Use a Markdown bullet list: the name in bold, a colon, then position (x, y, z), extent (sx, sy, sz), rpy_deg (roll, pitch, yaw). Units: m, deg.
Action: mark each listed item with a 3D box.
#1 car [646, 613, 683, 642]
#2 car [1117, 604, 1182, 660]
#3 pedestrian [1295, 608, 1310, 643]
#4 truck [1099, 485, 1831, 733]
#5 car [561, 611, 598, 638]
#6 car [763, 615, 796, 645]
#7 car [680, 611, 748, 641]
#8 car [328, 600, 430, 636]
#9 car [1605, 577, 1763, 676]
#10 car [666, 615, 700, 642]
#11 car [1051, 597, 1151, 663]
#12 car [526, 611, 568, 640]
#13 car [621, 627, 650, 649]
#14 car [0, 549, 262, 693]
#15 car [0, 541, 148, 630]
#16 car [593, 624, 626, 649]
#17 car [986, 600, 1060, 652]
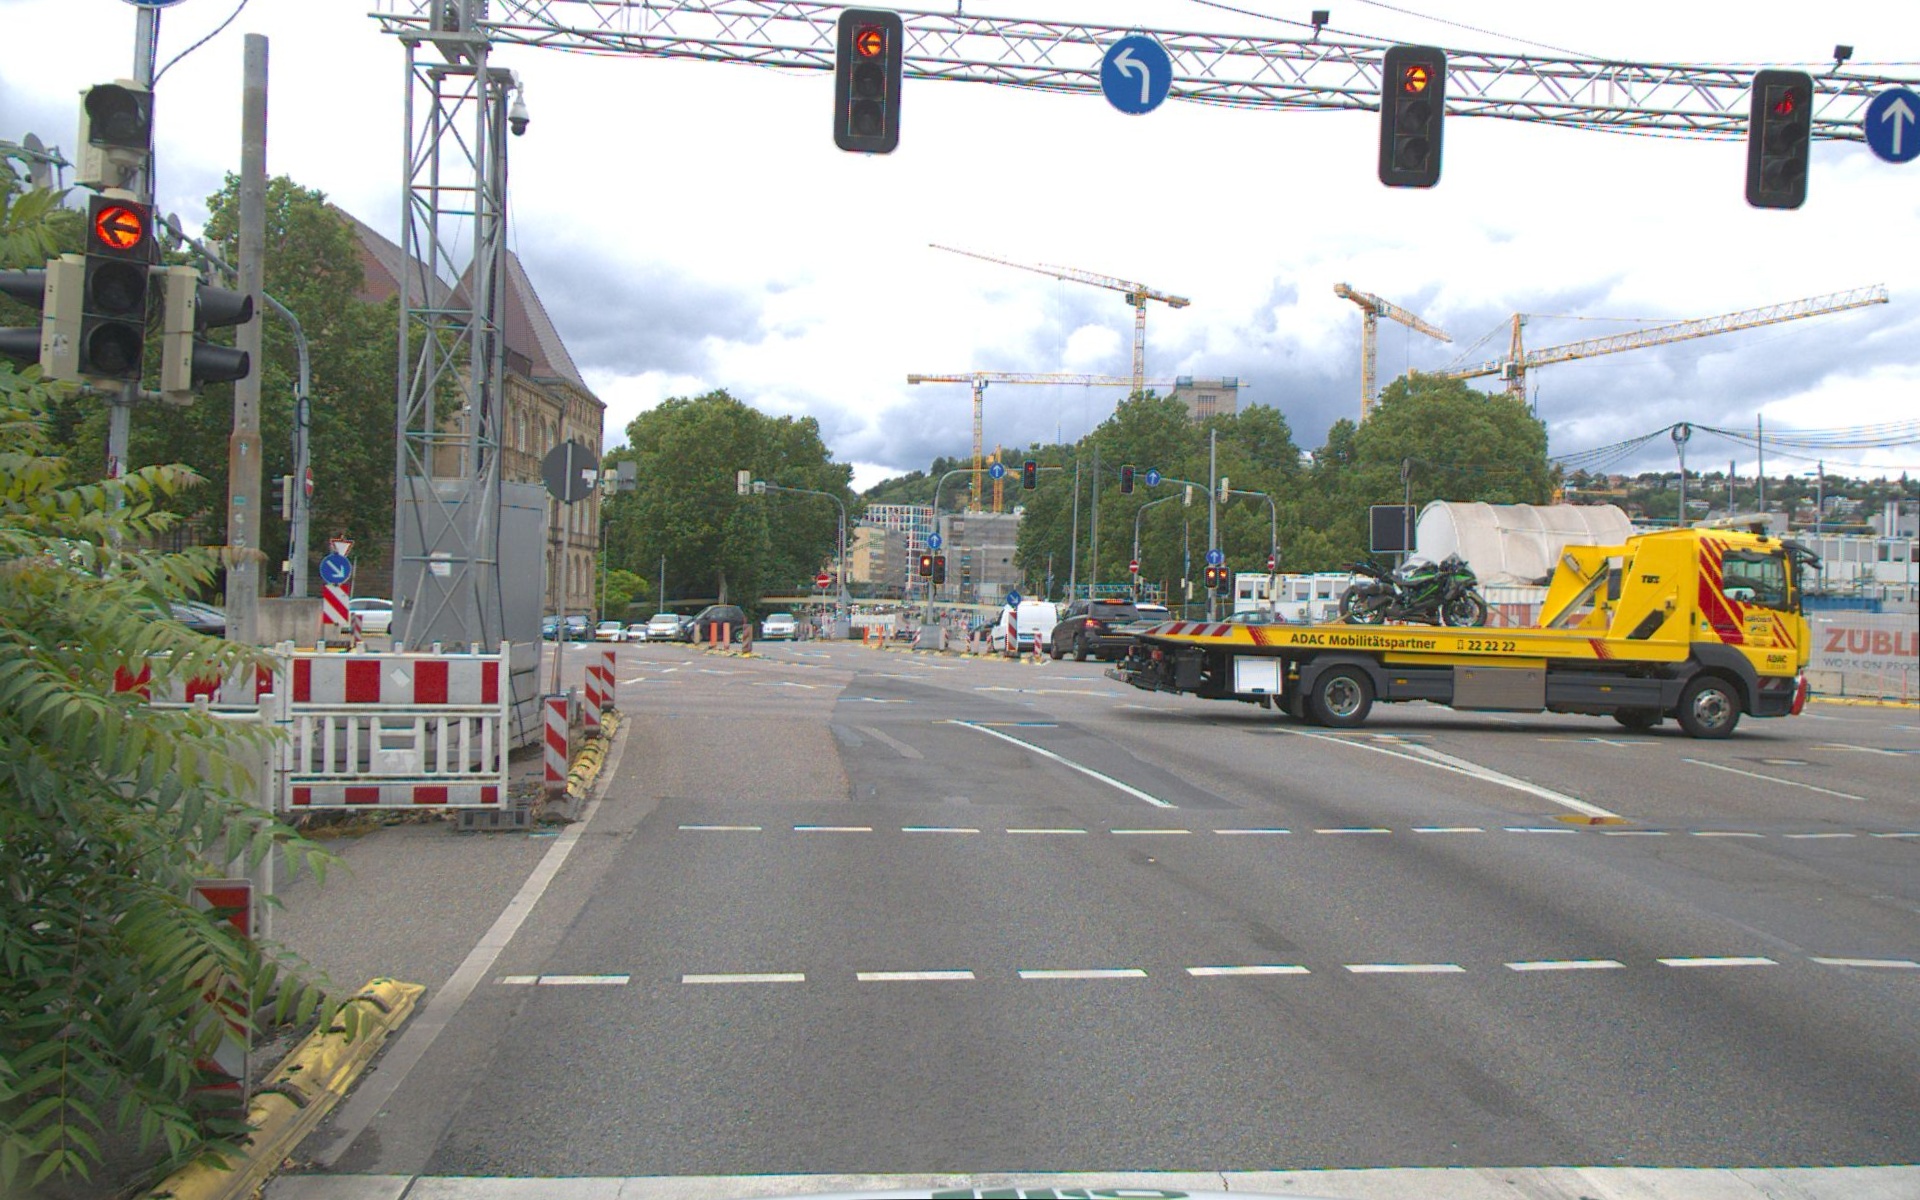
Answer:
- **car**: position (-15.251, 1.426, 85.388), extent (1.644, 1.422, 3.677), rpy_deg (1, 0, -7)
- **car**: position (6.046, 0.996, 53.138), extent (1.642, 1.732, 3.374), rpy_deg (1, 0, -1)
- **pedestrian**: position (17.447, 1.290, 84.226), extent (0.519, 1.778, 0.465), rpy_deg (1, 0, -25)
- **truck**: position (6.407, 0.119, 21.723), extent (8.802, 2.852, 2.625), rpy_deg (1, 0, -3)
- **car**: position (-21.276, 1.354, 92.586), extent (1.644, 1.422, 3.677), rpy_deg (1, 0, -7)
- **car**: position (-9.289, 1.526, 84.881), extent (1.644, 1.422, 3.677), rpy_deg (1, 0, -7)
- **car**: position (-10.020, 1.046, 67.377), extent (2.642, 1.162, 1.354), rpy_deg (1, 0, -12)
- **car**: position (-21.989, 0.688, 62.575), extent (3.556, 1.276, 1.670), rpy_deg (1, 0, -22)
- **car**: position (20.828, 0.742, 47.691), extent (3.902, 2.708, 1.683), rpy_deg (1, 0, 13)
- **car**: position (-15.291, 1.554, 91.547), extent (1.644, 1.422, 3.677), rpy_deg (1, 0, -7)
- **car**: position (3.982, 0.837, 47.282), extent (1.799, 1.776, 4.245), rpy_deg (1, 0, -10)
- **car**: position (-21.473, 1.322, 86.153), extent (1.644, 1.422, 3.677), rpy_deg (1, 0, -7)
- **car**: position (-22.260, 2.594, 113.679), extent (1.644, 1.422, 3.677), rpy_deg (1, 0, -7)
- **car**: position (-11.300, 0.237, 20.222), extent (4.722, 1.653, 2.015), rpy_deg (1, 0, -11)
- **car**: position (-30.561, -0.479, 55.919), extent (5.237, 2.906, 1.822), rpy_deg (1, -1, -17)
- **car**: position (-21.570, 2.248, 101.996), extent (1.644, 1.422, 3.677), rpy_deg (1, 0, -7)
- **car**: position (2.085, 0.850, 55.560), extent (1.783, 1.653, 3.993), rpy_deg (1, 0, -8)
